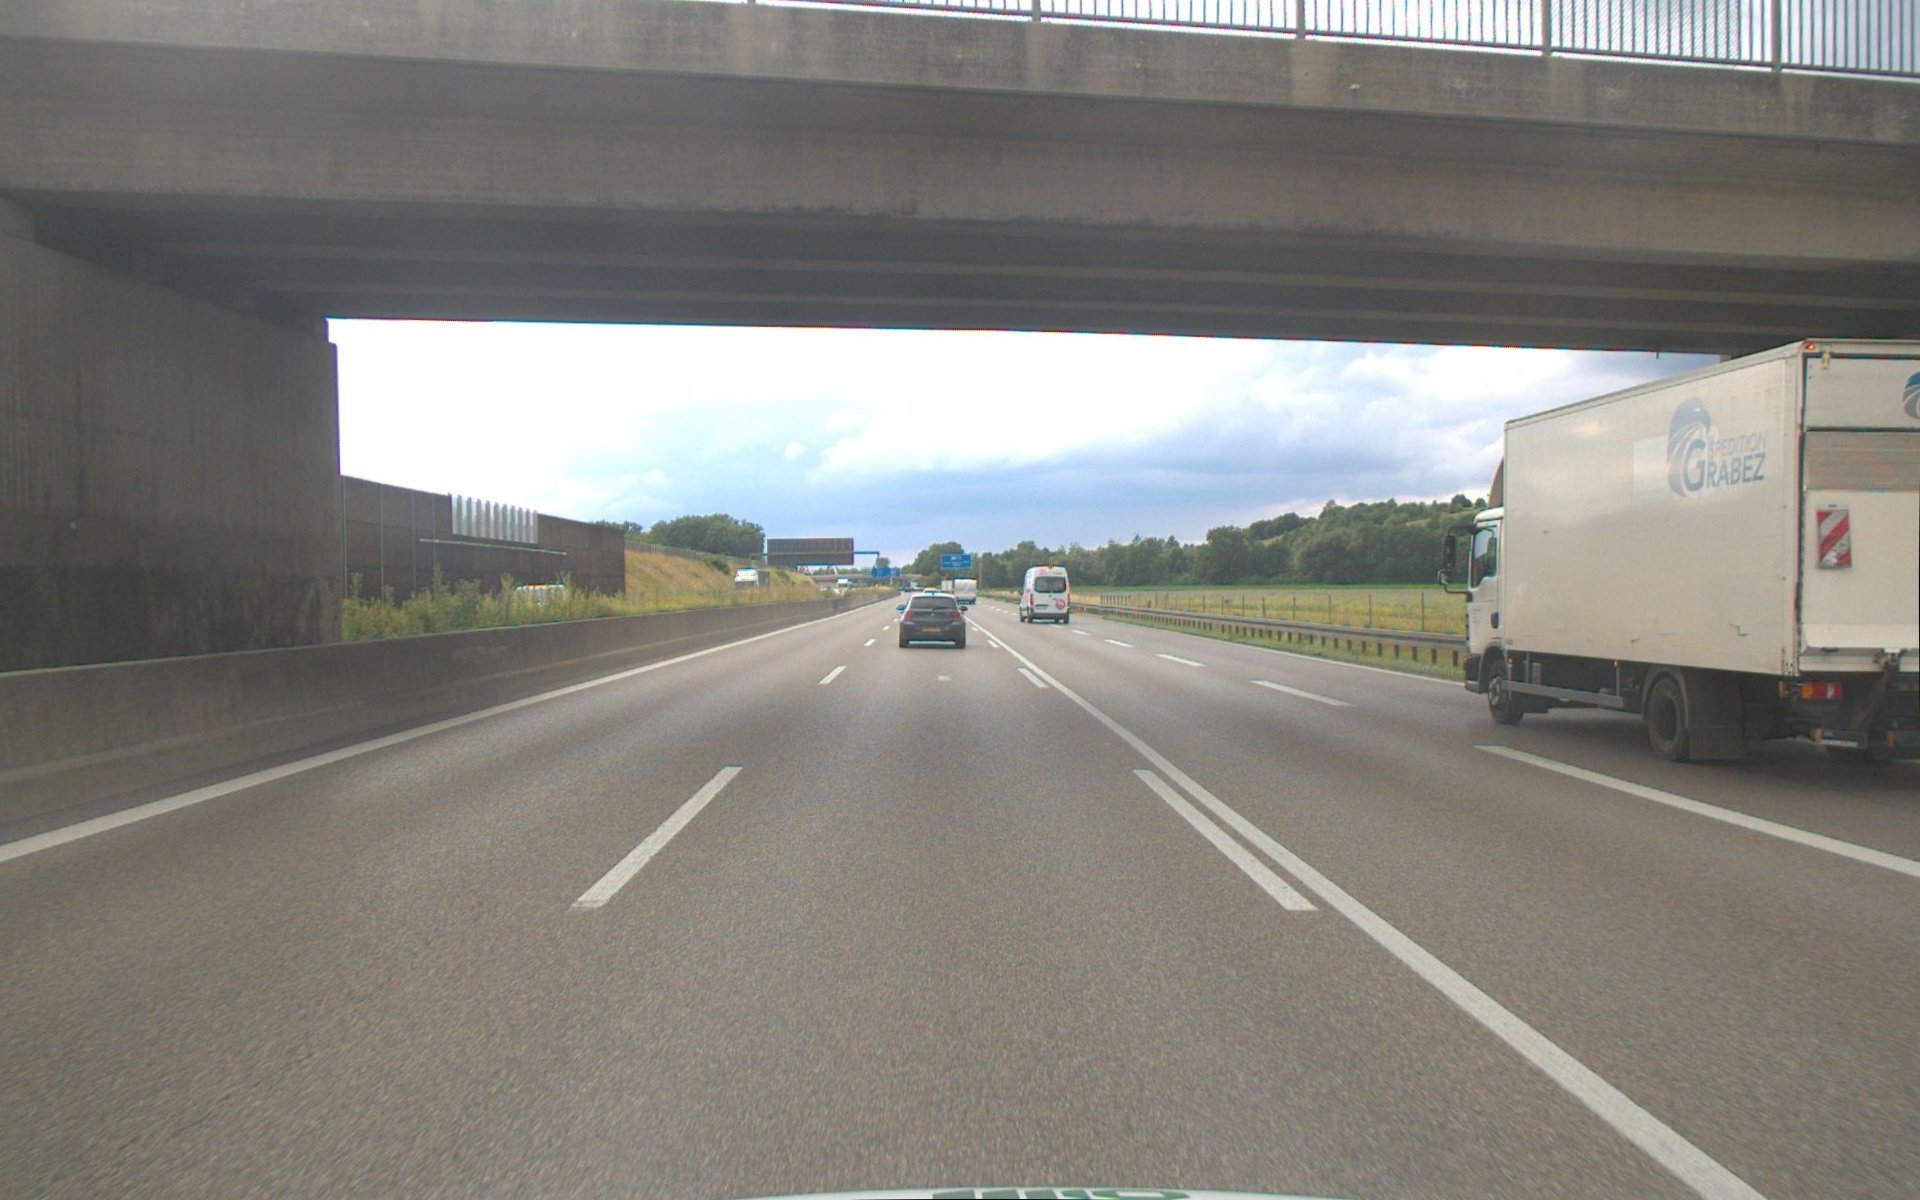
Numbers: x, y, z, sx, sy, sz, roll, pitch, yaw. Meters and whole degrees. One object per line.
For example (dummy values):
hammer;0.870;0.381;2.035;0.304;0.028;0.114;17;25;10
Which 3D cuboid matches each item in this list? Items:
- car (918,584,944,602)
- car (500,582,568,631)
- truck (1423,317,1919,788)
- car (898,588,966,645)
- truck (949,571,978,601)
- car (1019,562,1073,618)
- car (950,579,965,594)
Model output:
car;-2.282;-0.556;129.907;1.953;1.321;3.999;-1;0;-2
car;-17.045;0.229;66.366;1.692;1.861;4.718;-1;1;-3
truck;7.694;-0.345;16.965;3.042;3.531;8.887;1;0;-2
car;-0.743;0.407;44.061;1.708;1.413;3.999;1;0;-1
truck;0.347;-1.499;177.038;2.655;3.016;12.443;1;0;-1
car;4.178;-0.490;81.112;2.176;2.612;6.255;0;0;-1
car;-0.366;-1.908;237.793;1.953;2.049;3.999;-1;1;-2
